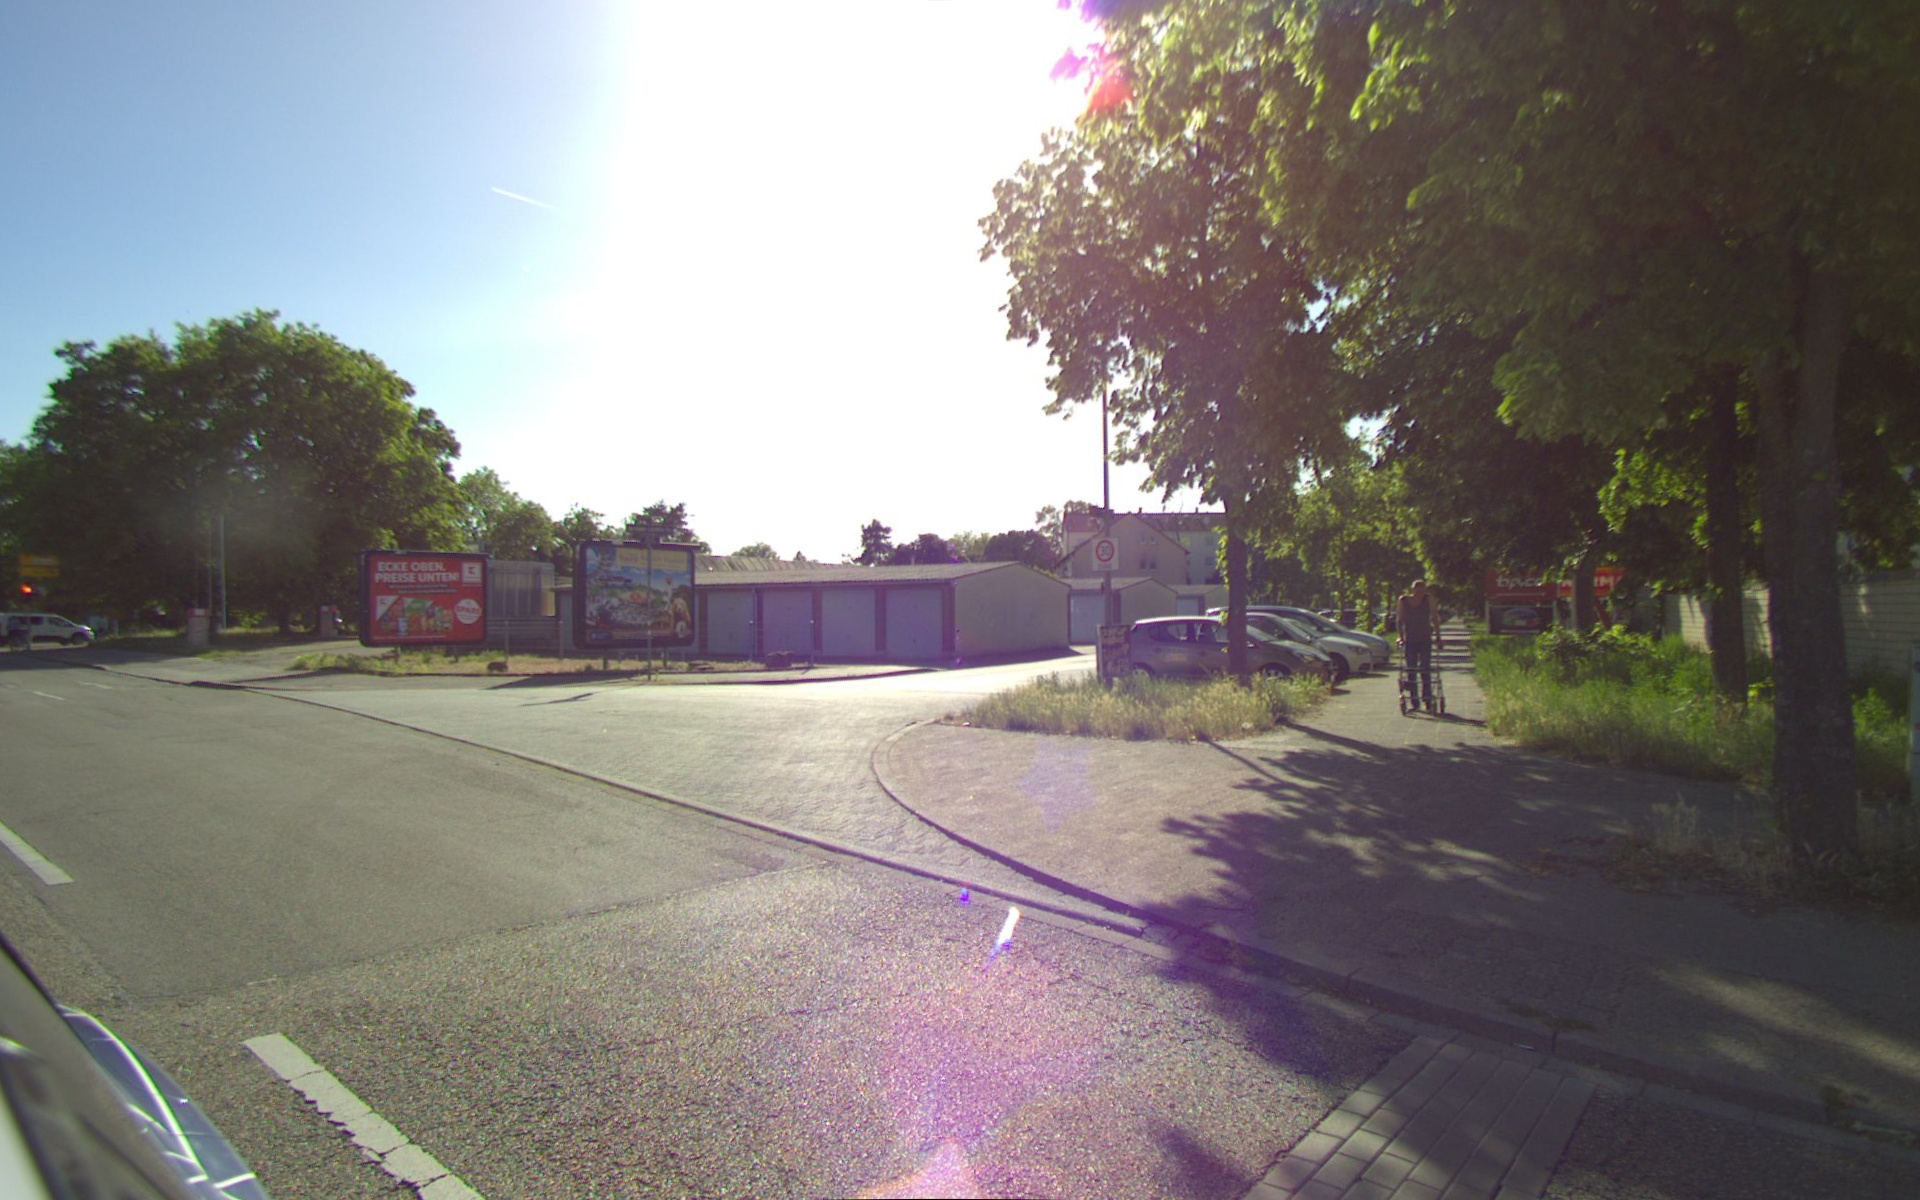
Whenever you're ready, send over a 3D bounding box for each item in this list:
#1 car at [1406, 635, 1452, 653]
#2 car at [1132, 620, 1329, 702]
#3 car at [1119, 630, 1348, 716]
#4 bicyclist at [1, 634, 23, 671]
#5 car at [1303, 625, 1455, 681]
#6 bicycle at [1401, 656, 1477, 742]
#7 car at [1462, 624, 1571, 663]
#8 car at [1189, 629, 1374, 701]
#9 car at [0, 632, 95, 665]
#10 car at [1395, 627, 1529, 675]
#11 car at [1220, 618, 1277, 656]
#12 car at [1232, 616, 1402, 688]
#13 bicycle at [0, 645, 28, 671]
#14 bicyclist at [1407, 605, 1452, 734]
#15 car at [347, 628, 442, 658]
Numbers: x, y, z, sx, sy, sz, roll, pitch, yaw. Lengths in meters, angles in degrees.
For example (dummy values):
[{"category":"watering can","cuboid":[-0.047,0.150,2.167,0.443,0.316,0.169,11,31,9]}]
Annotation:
[{"category":"car","cuboid":[44.891,4.210,96.926,3.979,1.632,1.640,-1,-4,27]},{"category":"car","cuboid":[5.822,1.321,21.785,3.857,1.634,1.689,-2,-3,24]},{"category":"car","cuboid":[5.108,1.329,18.927,3.861,1.475,1.719,-2,-3,27]},{"category":"bicyclist","cuboid":[-43.025,2.387,45.936,0.827,1.654,0.536,-2,-2,33]},{"category":"car","cuboid":[11.891,1.504,28.786,3.863,1.517,1.492,-2,-3,28]},{"category":"bicycle","cuboid":[6.302,1.276,13.383,0.401,1.018,1.618,-1,-2,8]},{"category":"car","cuboid":[22.919,1.822,41.807,3.863,1.543,1.492,-2,-3,28]},{"category":"car","cuboid":[7.398,1.492,23.306,3.857,1.475,1.689,-4,-3,24]},{"category":"car","cuboid":[-52.614,2.741,57.595,1.855,1.855,4.820,-1,-3,27]},{"category":"car","cuboid":[16.619,1.696,33.623,3.863,1.517,1.492,-2,-3,28]},{"category":"car","cuboid":[13.023,1.633,45.474,2.005,1.580,4.361,-2,-1,22]},{"category":"car","cuboid":[9.080,1.320,25.765,3.863,1.692,1.687,-2,-3,28]},{"category":"bicycle","cuboid":[-42.870,2.633,45.839,2.020,1.150,0.523,-2,-2,34]},{"category":"bicyclist","cuboid":[6.309,0.924,13.609,0.378,1.698,0.388,-2,-2,8]},{"category":"car","cuboid":[-29.064,2.207,52.051,3.948,1.386,1.758,2,-1,4]}]
